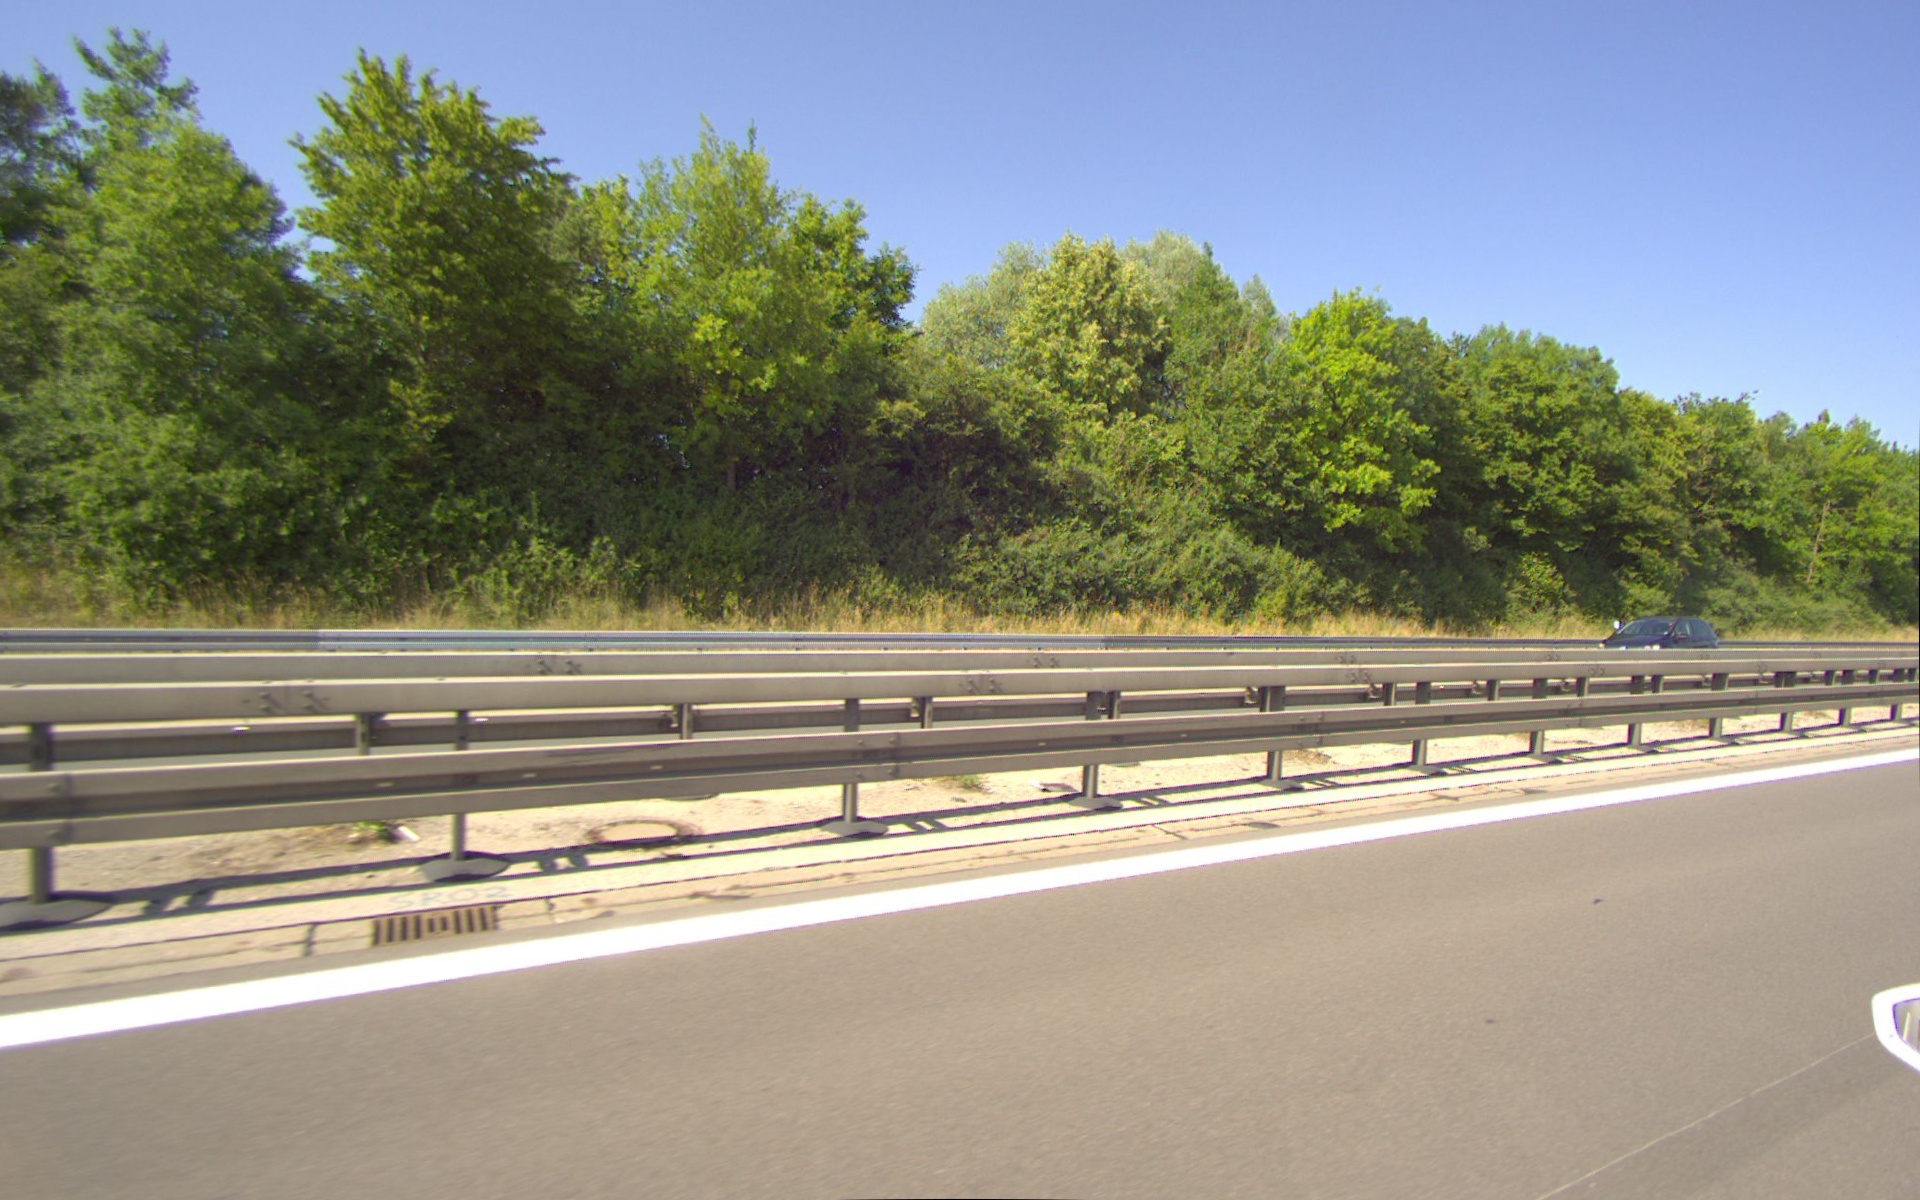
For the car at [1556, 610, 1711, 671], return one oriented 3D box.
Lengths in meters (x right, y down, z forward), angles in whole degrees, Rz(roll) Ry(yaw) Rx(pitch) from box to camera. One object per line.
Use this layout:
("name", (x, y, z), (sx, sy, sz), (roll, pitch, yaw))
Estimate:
("car", (19.306, 1.131, 28.726), (4.793, 1.576, 1.801), (1, 1, -31))
